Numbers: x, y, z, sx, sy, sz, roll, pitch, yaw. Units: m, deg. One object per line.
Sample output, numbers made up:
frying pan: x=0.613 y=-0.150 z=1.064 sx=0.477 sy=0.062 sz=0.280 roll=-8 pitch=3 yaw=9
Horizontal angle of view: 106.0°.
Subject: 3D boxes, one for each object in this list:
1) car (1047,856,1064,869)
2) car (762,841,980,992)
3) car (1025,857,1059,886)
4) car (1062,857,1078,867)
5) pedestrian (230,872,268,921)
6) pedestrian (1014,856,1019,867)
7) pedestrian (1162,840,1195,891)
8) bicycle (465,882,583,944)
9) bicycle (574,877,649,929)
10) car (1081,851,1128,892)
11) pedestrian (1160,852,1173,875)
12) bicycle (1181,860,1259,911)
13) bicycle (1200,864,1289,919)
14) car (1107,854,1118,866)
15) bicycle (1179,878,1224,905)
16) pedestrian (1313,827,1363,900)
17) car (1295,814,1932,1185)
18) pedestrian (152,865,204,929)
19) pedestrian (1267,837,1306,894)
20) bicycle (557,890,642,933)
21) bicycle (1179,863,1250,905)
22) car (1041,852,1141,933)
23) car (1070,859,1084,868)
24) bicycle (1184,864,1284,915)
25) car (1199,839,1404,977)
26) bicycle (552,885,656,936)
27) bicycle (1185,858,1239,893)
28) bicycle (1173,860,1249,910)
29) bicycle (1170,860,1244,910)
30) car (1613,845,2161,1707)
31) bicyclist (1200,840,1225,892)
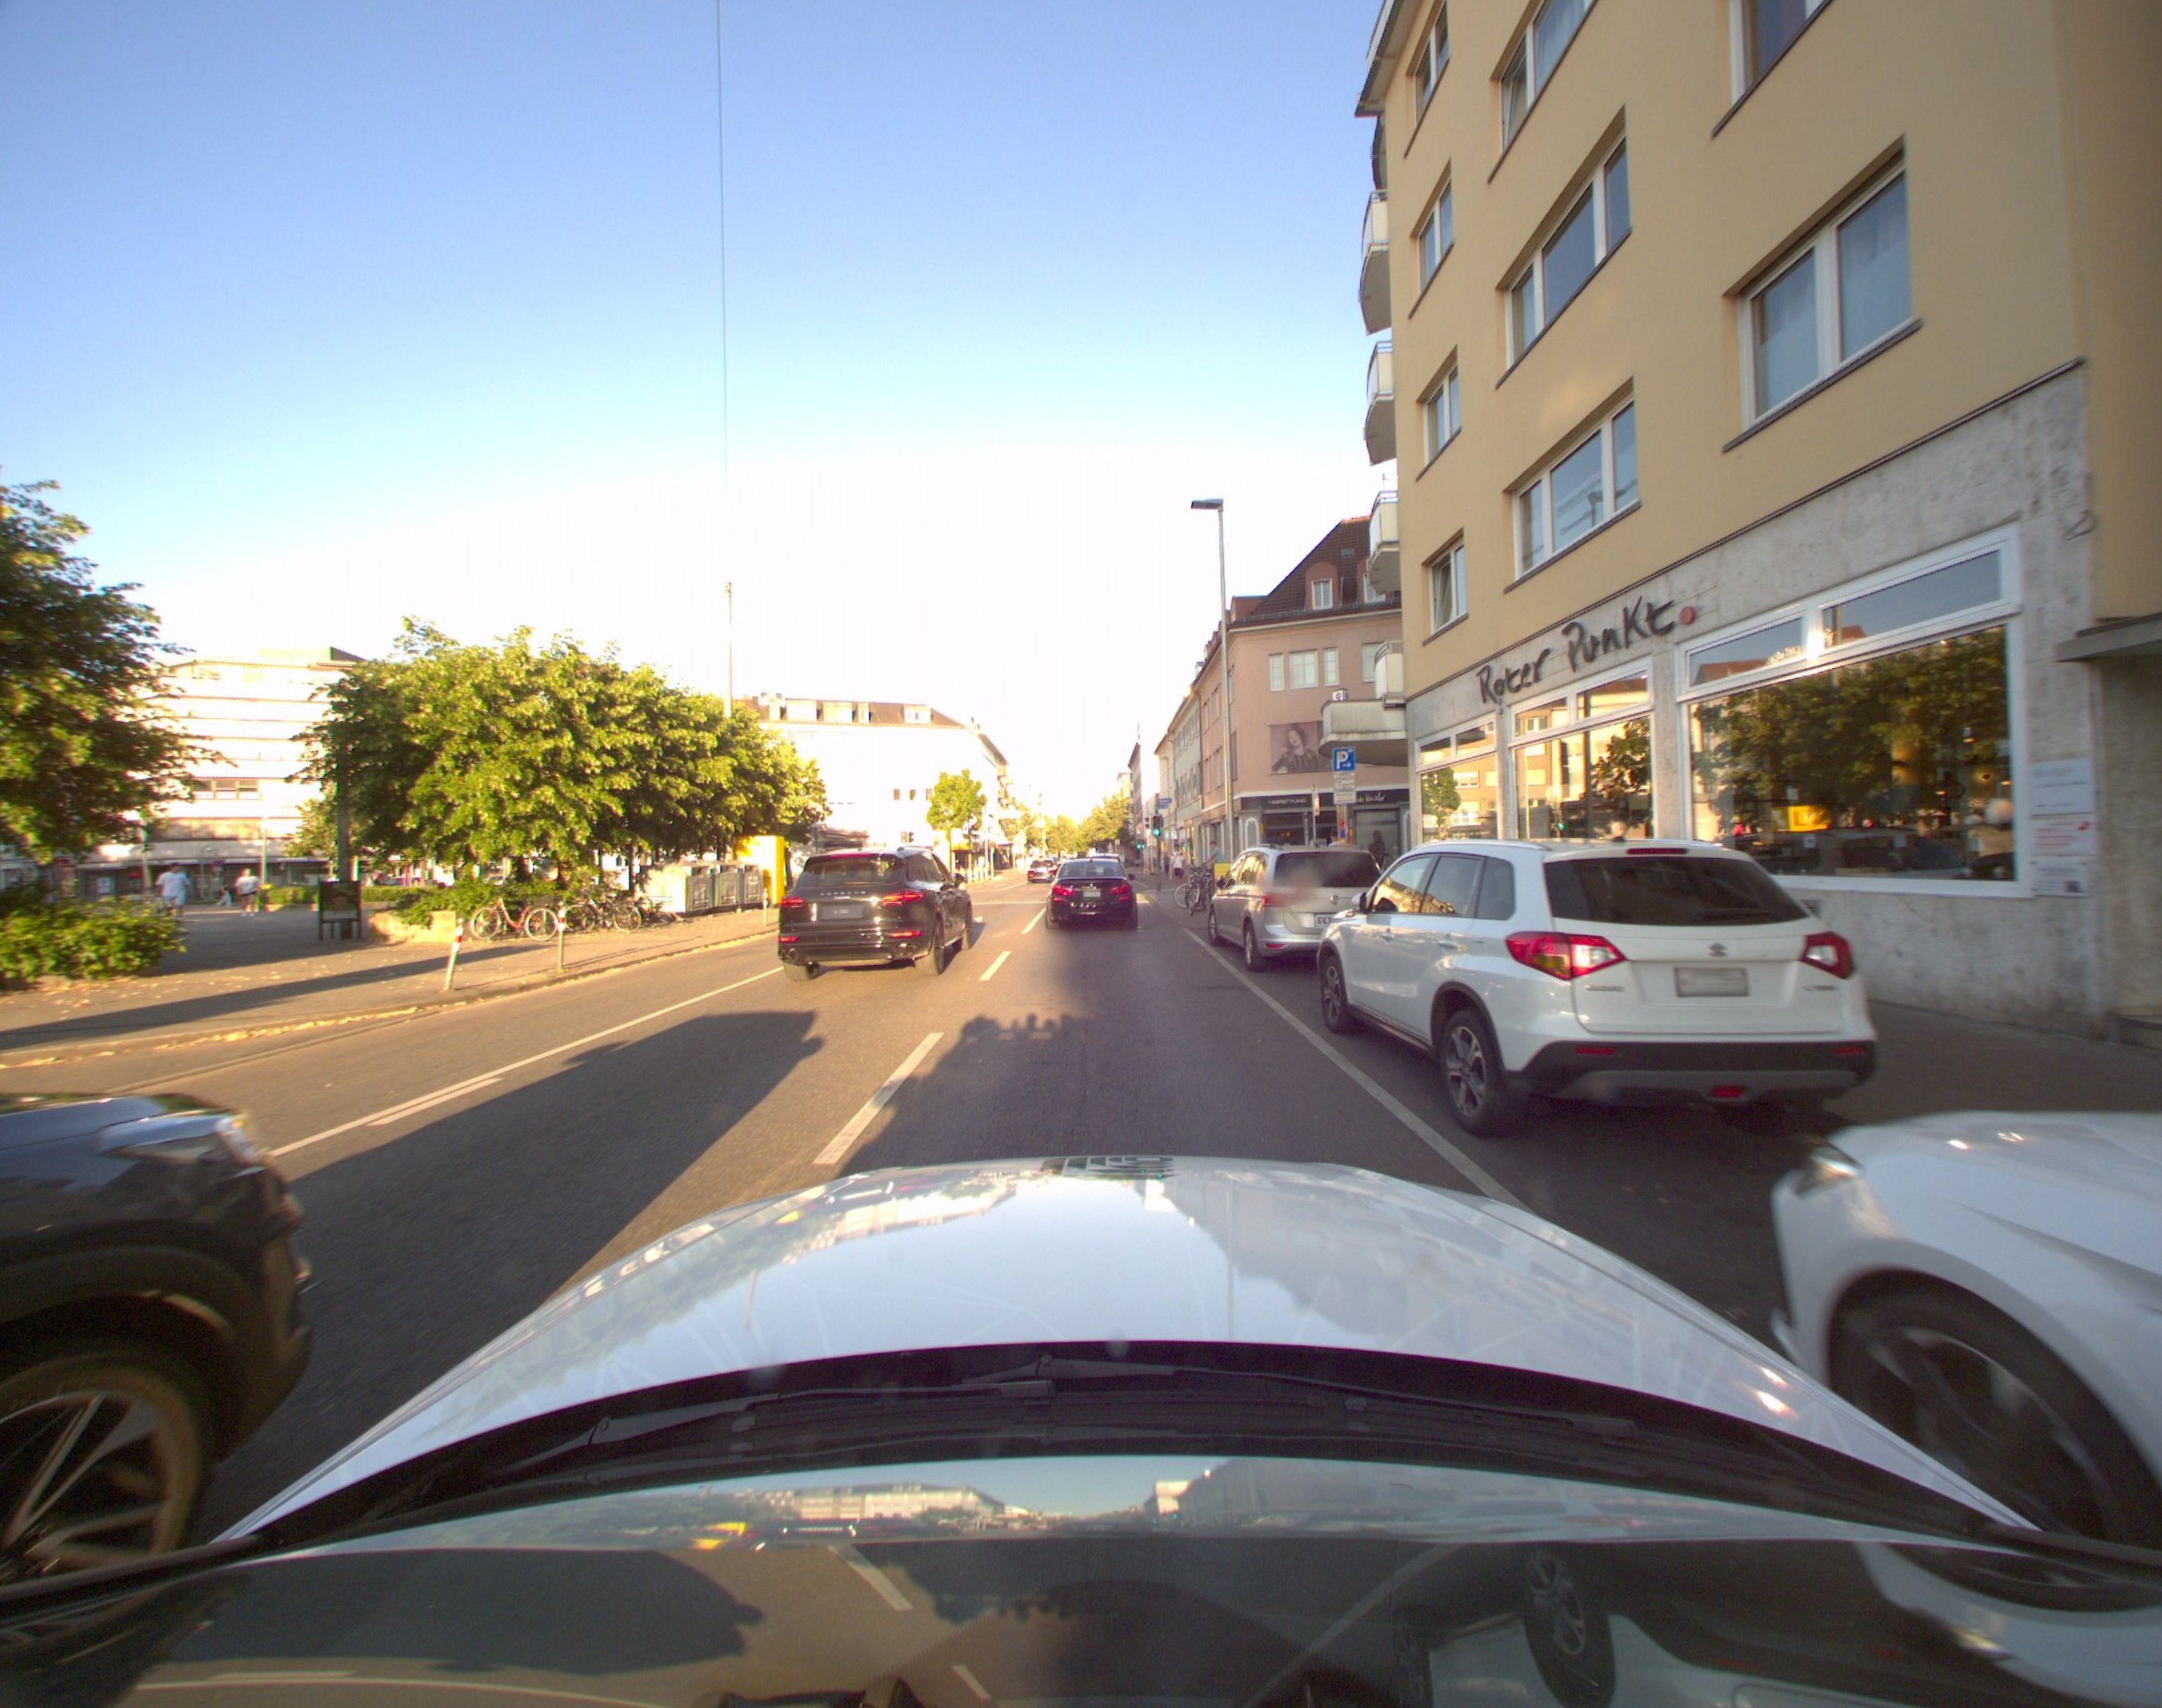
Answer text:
car: x=-3.489 y=1.169 z=111.024 sx=1.990 sy=1.618 sz=3.993 roll=-1 pitch=0 yaw=-5
car: x=-2.757 y=0.734 z=11.890 sx=1.942 sy=1.714 sz=4.561 roll=-2 pitch=0 yaw=0
car: x=-2.279 y=0.981 z=48.528 sx=1.867 sy=1.595 sz=4.447 roll=-1 pitch=0 yaw=-1
car: x=-1.632 y=1.146 z=116.620 sx=1.990 sy=1.442 sz=3.993 roll=-1 pitch=0 yaw=-5
pedestrian: x=-28.476 y=1.436 z=27.874 sx=0.696 sy=1.621 sz=0.846 roll=-1 pitch=-1 yaw=39
pedestrian: x=-10.171 y=1.145 z=128.444 sx=0.821 sy=1.676 sz=0.871 roll=-1 pitch=0 yaw=0
pedestrian: x=3.724 y=0.449 z=31.198 sx=0.941 sy=1.897 sz=0.820 roll=-1 pitch=-1 yaw=-21
bicycle: x=-11.597 y=1.217 z=16.983 sx=2.020 sy=1.252 sz=0.548 roll=0 pitch=0 yaw=-3
bicycle: x=-11.593 y=1.207 z=20.119 sx=1.581 sy=1.252 sz=0.444 roll=0 pitch=0 yaw=-1
car: x=1.020 y=0.700 z=34.704 sx=1.825 sy=1.576 sz=4.102 roll=-1 pitch=0 yaw=2
pedestrian: x=6.209 y=0.676 z=59.159 sx=0.821 sy=1.642 sz=0.871 roll=-2 pitch=-1 yaw=-1
bicycle: x=3.461 y=0.772 z=20.353 sx=1.782 sy=1.173 sz=0.620 roll=-3 pitch=0 yaw=-11
bicycle: x=3.692 y=0.826 z=18.399 sx=1.845 sy=1.123 sz=0.592 roll=-3 pitch=-1 yaw=-11
car: x=4.674 y=0.900 z=119.756 sx=1.417 sy=1.855 sz=3.050 roll=0 pitch=-1 yaw=-2
bicycle: x=3.436 y=1.056 z=23.256 sx=1.004 sy=0.681 sz=1.047 roll=-2 pitch=0 yaw=-8
pedestrian: x=6.619 y=0.238 z=20.981 sx=0.829 sy=1.817 sz=0.862 roll=-1 pitch=-1 yaw=-36
car: x=2.927 y=0.651 z=5.742 sx=1.810 sy=1.621 sz=4.204 roll=-1 pitch=0 yaw=1
pedestrian: x=-24.999 y=1.170 z=22.546 sx=0.726 sy=1.725 sz=0.902 roll=-1 pitch=-1 yaw=38
pedestrian: x=6.097 y=0.348 z=24.118 sx=0.782 sy=1.653 sz=0.785 roll=-2 pitch=-1 yaw=44
bicycle: x=-11.504 y=1.360 z=19.493 sx=1.669 sy=0.979 sz=0.548 roll=0 pitch=0 yaw=-3
bicycle: x=3.703 y=0.825 z=22.668 sx=1.782 sy=1.063 sz=0.716 roll=-3 pitch=0 yaw=-11
car: x=0.187 y=0.747 z=18.033 sx=1.897 sy=1.540 sz=4.448 roll=-1 pitch=0 yaw=0
car: x=-0.595 y=1.449 z=123.388 sx=1.731 sy=1.293 sz=3.993 roll=-1 pitch=0 yaw=-5
bicycle: x=3.620 y=0.829 z=19.399 sx=2.167 sy=1.075 sz=0.804 roll=-3 pitch=0 yaw=-6
car: x=2.973 y=0.646 z=12.069 sx=1.692 sy=1.616 sz=4.681 roll=-1 pitch=0 yaw=-1
bicycle: x=-10.872 y=1.280 z=18.605 sx=2.020 sy=1.134 sz=0.548 roll=0 pitch=0 yaw=-3
bicycle: x=4.655 y=0.759 z=28.903 sx=1.808 sy=1.186 sz=0.795 roll=-2 pitch=0 yaw=10
bicycle: x=3.339 y=0.789 z=20.985 sx=1.783 sy=1.173 sz=0.620 roll=-3 pitch=0 yaw=-11
bicycle: x=3.355 y=0.809 z=21.733 sx=1.840 sy=1.239 sz=0.638 roll=-2 pitch=0 yaw=-5
car: x=2.500 y=0.716 z=0.271 sx=1.727 sy=1.457 sz=4.612 roll=-1 pitch=0 yaw=2
bicyclist: x=4.675 y=0.420 z=28.904 sx=0.828 sy=1.826 sz=0.833 roll=-2 pitch=0 yaw=9
